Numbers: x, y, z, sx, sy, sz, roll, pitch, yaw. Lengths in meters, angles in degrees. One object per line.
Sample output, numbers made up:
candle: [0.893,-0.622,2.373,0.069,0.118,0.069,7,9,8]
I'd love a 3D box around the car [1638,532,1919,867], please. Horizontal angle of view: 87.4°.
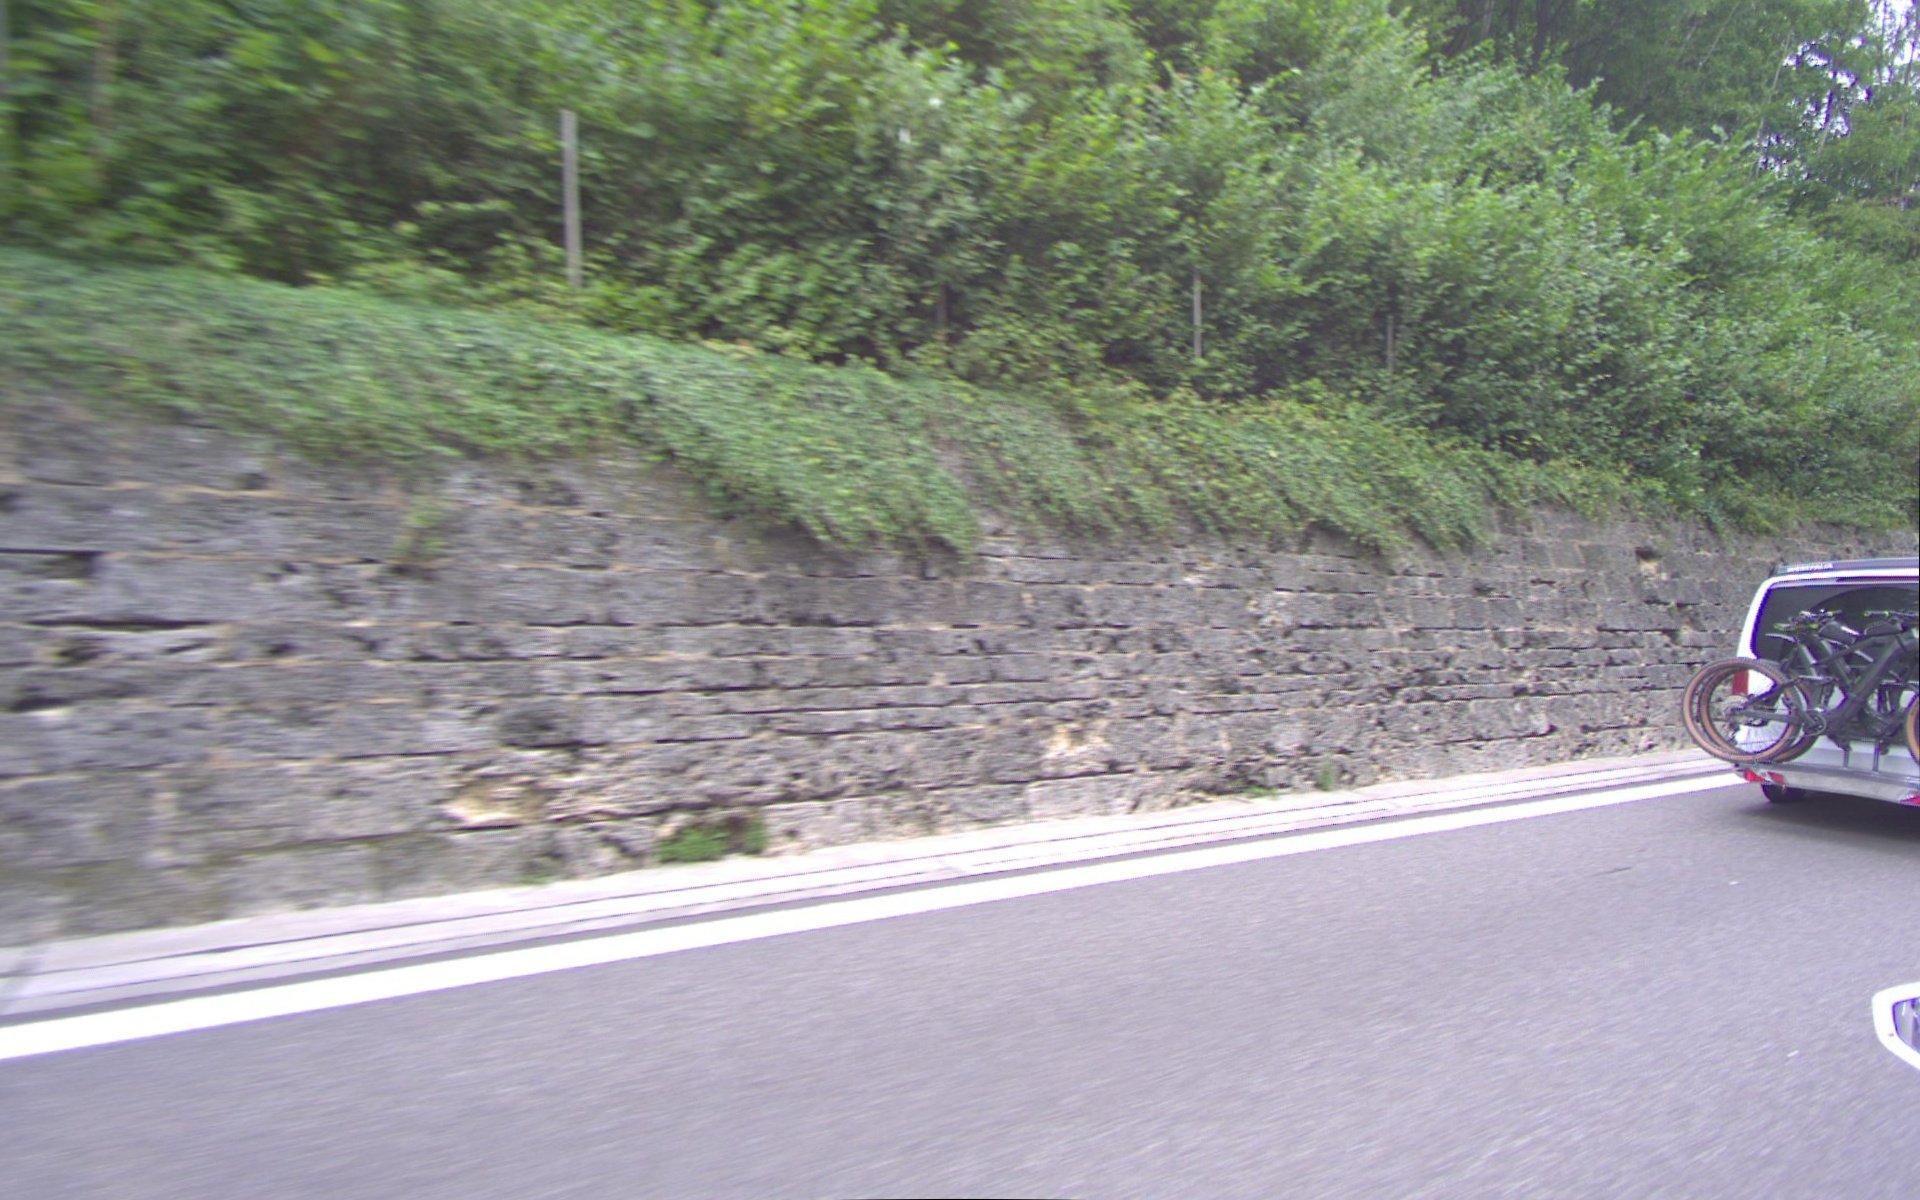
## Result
car: [8.030,0.626,7.963,6.076,1.979,1.984,1,0,-31]
